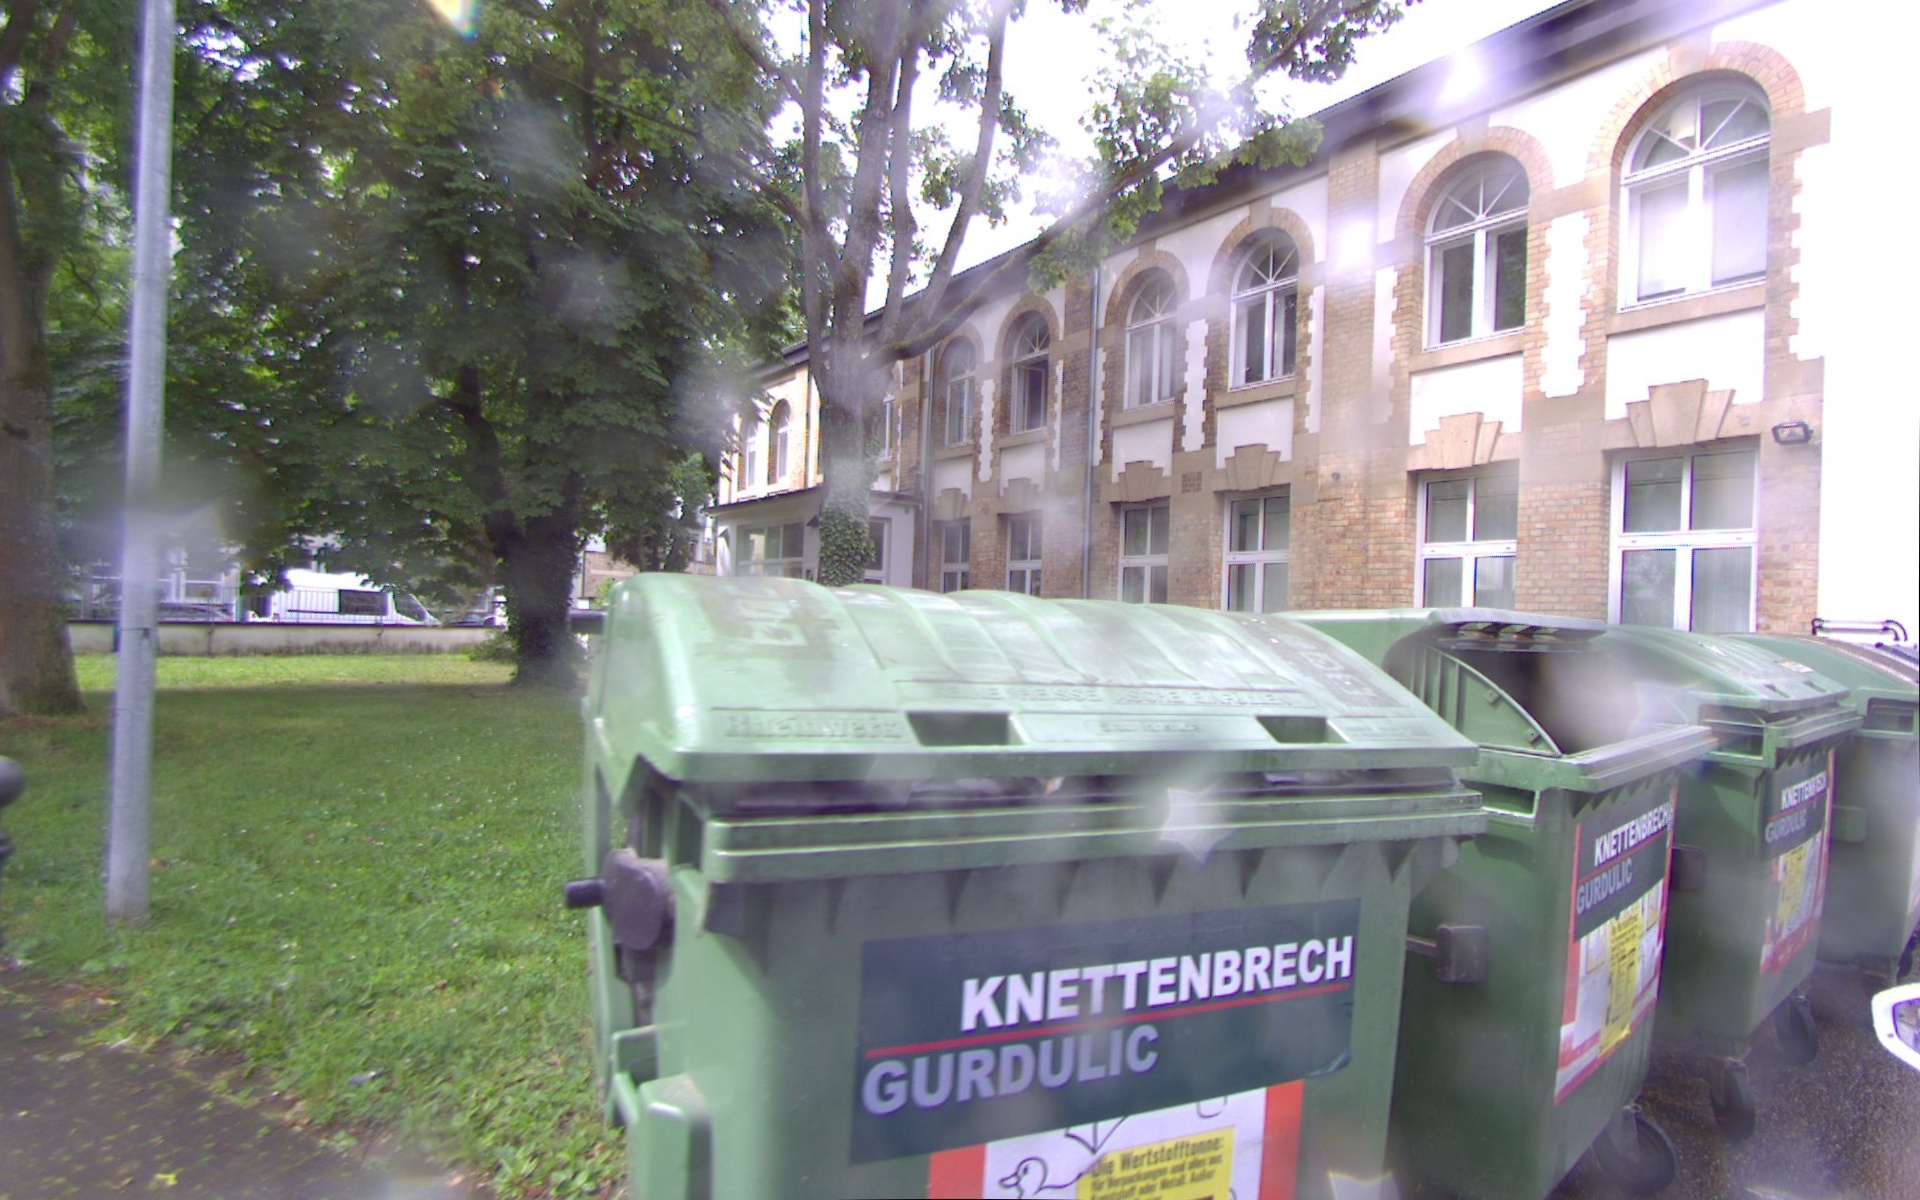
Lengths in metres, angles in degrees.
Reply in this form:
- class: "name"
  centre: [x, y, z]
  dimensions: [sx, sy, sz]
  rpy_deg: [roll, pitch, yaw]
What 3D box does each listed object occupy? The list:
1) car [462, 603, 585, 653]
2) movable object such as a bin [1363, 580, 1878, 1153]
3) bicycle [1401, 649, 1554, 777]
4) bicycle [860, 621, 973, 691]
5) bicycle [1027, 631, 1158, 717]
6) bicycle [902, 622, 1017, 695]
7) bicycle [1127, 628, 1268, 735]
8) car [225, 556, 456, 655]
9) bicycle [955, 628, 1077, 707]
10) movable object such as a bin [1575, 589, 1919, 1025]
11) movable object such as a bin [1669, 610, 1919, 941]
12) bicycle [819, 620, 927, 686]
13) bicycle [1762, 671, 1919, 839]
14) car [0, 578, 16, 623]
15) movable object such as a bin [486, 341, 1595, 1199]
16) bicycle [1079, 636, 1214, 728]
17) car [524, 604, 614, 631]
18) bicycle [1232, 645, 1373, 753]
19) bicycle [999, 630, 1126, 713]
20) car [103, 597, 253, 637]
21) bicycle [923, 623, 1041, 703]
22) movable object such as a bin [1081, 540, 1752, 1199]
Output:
- class: "car"
  centre: [-14.774, 0.978, 34.143]
  dimensions: [1.879, 1.571, 3.367]
  rpy_deg: [0, -2, 28]
- class: "movable object such as a bin"
  centre: [2.334, 0.716, 3.541]
  dimensions: [1.392, 1.503, 1.154]
  rpy_deg: [2, 0, -41]
- class: "bicycle"
  centre: [5.105, 1.088, 9.867]
  dimensions: [1.772, 1.130, 0.611]
  rpy_deg: [4, -3, -37]
- class: "bicycle"
  centre: [-0.730, 0.978, 17.331]
  dimensions: [1.909, 1.130, 0.611]
  rpy_deg: [4, -3, -37]
- class: "bicycle"
  centre: [1.882, 1.039, 14.078]
  dimensions: [1.909, 1.130, 0.611]
  rpy_deg: [4, -3, -37]
- class: "bicycle"
  centre: [0.013, 0.987, 16.683]
  dimensions: [1.909, 1.130, 0.611]
  rpy_deg: [4, -3, -37]
- class: "bicycle"
  centre: [3.002, 1.021, 12.582]
  dimensions: [1.909, 1.240, 0.611]
  rpy_deg: [4, -3, -37]
- class: "car"
  centre: [-17.434, 0.234, 28.654]
  dimensions: [2.100, 2.543, 5.269]
  rpy_deg: [0, -2, 25]
- class: "bicycle"
  centre: [0.879, 1.047, 15.472]
  dimensions: [1.909, 1.130, 0.611]
  rpy_deg: [4, -3, -37]
- class: "movable object such as a bin"
  centre: [3.560, 0.759, 4.345]
  dimensions: [1.486, 1.502, 1.154]
  rpy_deg: [4, -3, -42]
- class: "movable object such as a bin"
  centre: [4.715, 0.845, 5.406]
  dimensions: [1.583, 1.502, 1.154]
  rpy_deg: [4, -3, -42]
- class: "bicycle"
  centre: [-1.582, 0.987, 18.476]
  dimensions: [1.909, 1.130, 0.611]
  rpy_deg: [4, -3, -37]
- class: "bicycle"
  centre: [6.753, 1.139, 7.676]
  dimensions: [1.506, 1.130, 0.611]
  rpy_deg: [4, -3, -37]
- class: "car"
  centre: [-33.339, -0.014, 32.344]
  dimensions: [3.822, 1.473, 1.770]
  rpy_deg: [1, -1, -20]
- class: "movable object such as a bin"
  centre: [0.044, 0.547, 1.704]
  dimensions: [1.466, 1.492, 1.097]
  rpy_deg: [3, 0, -27]
- class: "bicycle"
  centre: [2.497, 1.092, 13.353]
  dimensions: [1.909, 1.130, 0.611]
  rpy_deg: [4, -3, -37]
- class: "car"
  centre: [-21.786, 0.977, 56.144]
  dimensions: [4.362, 1.472, 1.902]
  rpy_deg: [1, -1, -11]
- class: "bicycle"
  centre: [3.922, 1.115, 11.448]
  dimensions: [1.772, 1.130, 0.611]
  rpy_deg: [4, -3, -37]
- class: "bicycle"
  centre: [1.514, 1.045, 14.672]
  dimensions: [1.909, 1.130, 0.611]
  rpy_deg: [4, -3, -37]
- class: "car"
  centre: [-29.949, 0.657, 38.614]
  dimensions: [4.140, 1.472, 1.807]
  rpy_deg: [1, -1, -18]
- class: "bicycle"
  centre: [0.370, 0.992, 16.085]
  dimensions: [1.909, 1.192, 0.611]
  rpy_deg: [2, -1, -37]
- class: "movable object such as a bin"
  centre: [1.229, 0.642, 2.673]
  dimensions: [1.393, 1.503, 1.153]
  rpy_deg: [1, 1, -43]
